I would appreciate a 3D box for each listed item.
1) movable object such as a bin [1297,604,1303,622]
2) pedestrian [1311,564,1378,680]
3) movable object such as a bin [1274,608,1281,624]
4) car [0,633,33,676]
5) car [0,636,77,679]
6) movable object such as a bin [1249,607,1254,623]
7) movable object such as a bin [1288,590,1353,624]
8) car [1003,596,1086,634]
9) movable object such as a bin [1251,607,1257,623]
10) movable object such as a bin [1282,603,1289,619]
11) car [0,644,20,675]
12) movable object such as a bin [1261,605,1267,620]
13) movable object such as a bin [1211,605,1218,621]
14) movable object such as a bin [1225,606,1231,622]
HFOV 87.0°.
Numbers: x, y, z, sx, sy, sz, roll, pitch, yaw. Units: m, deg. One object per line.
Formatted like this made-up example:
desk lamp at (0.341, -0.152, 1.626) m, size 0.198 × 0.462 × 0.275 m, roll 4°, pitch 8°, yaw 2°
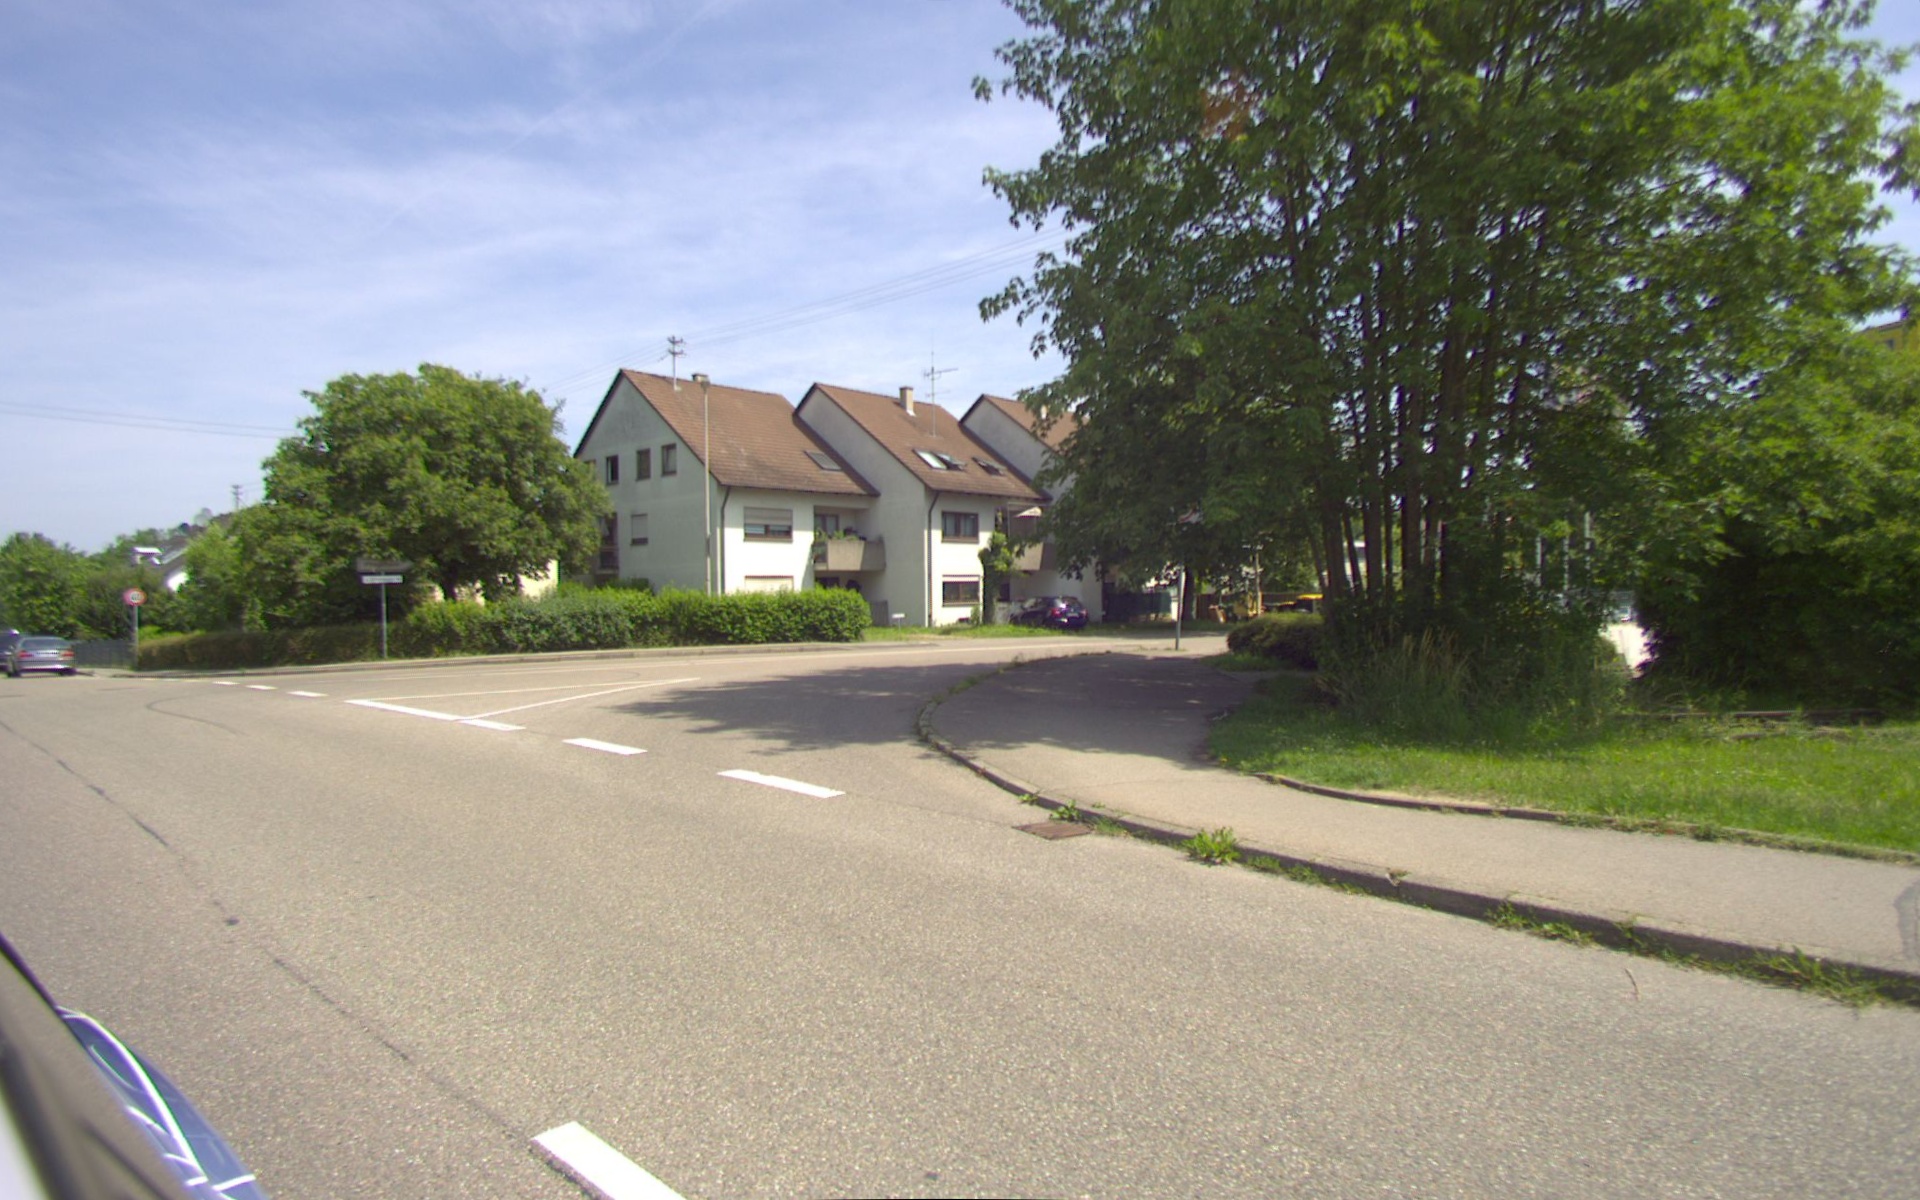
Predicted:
movable object such as a bin at (15.636, 0.617, 46.553) m, size 0.229 × 0.811 × 0.234 m, roll -2°, pitch 0°, yaw 27°
pedestrian at (6.138, 0.350, 16.151) m, size 0.725 × 1.791 × 0.692 m, roll 1°, pitch -1°, yaw -29°
movable object such as a bin at (14.843, 0.742, 47.301) m, size 0.229 × 0.734 × 0.234 m, roll -2°, pitch 0°, yaw 27°
car at (-45.336, 2.601, 47.688) m, size 4.867 × 1.935 × 1.877 m, roll -4°, pitch -4°, yaw 41°
car at (-33.062, 2.042, 36.233) m, size 4.409 × 1.405 × 1.761 m, roll -3°, pitch -2°, yaw 43°
movable object such as a bin at (13.920, 0.718, 48.337) m, size 0.228 × 0.734 × 0.235 m, roll -2°, pitch 0°, yaw 16°
movable object such as a bin at (15.927, 0.330, 44.707) m, size 2.170 × 1.398 × 1.520 m, roll -1°, pitch -2°, yaw -15°
car at (3.242, 0.561, 39.323) m, size 1.373 × 1.372 × 3.618 m, roll -2°, pitch 0°, yaw -30°
movable object such as a bin at (13.420, 0.695, 46.188) m, size 0.227 × 0.734 × 0.236 m, roll -2°, pitch 0°, yaw 4°
movable object such as a bin at (15.136, 0.512, 47.043) m, size 0.229 × 0.734 × 0.234 m, roll -2°, pitch 0°, yaw 27°
car at (-51.011, 3.185, 53.249) m, size 4.240 × 1.561 × 1.792 m, roll -4°, pitch -2°, yaw 41°
movable object such as a bin at (14.369, 0.588, 47.865) m, size 0.229 × 0.734 × 0.234 m, roll -2°, pitch 0°, yaw 27°
movable object such as a bin at (11.871, 0.597, 47.270) m, size 0.247 × 0.734 × 0.236 m, roll -2°, pitch 0°, yaw 4°
movable object such as a bin at (13.039, 0.684, 49.231) m, size 0.227 × 0.734 × 0.236 m, roll -2°, pitch 0°, yaw 4°
